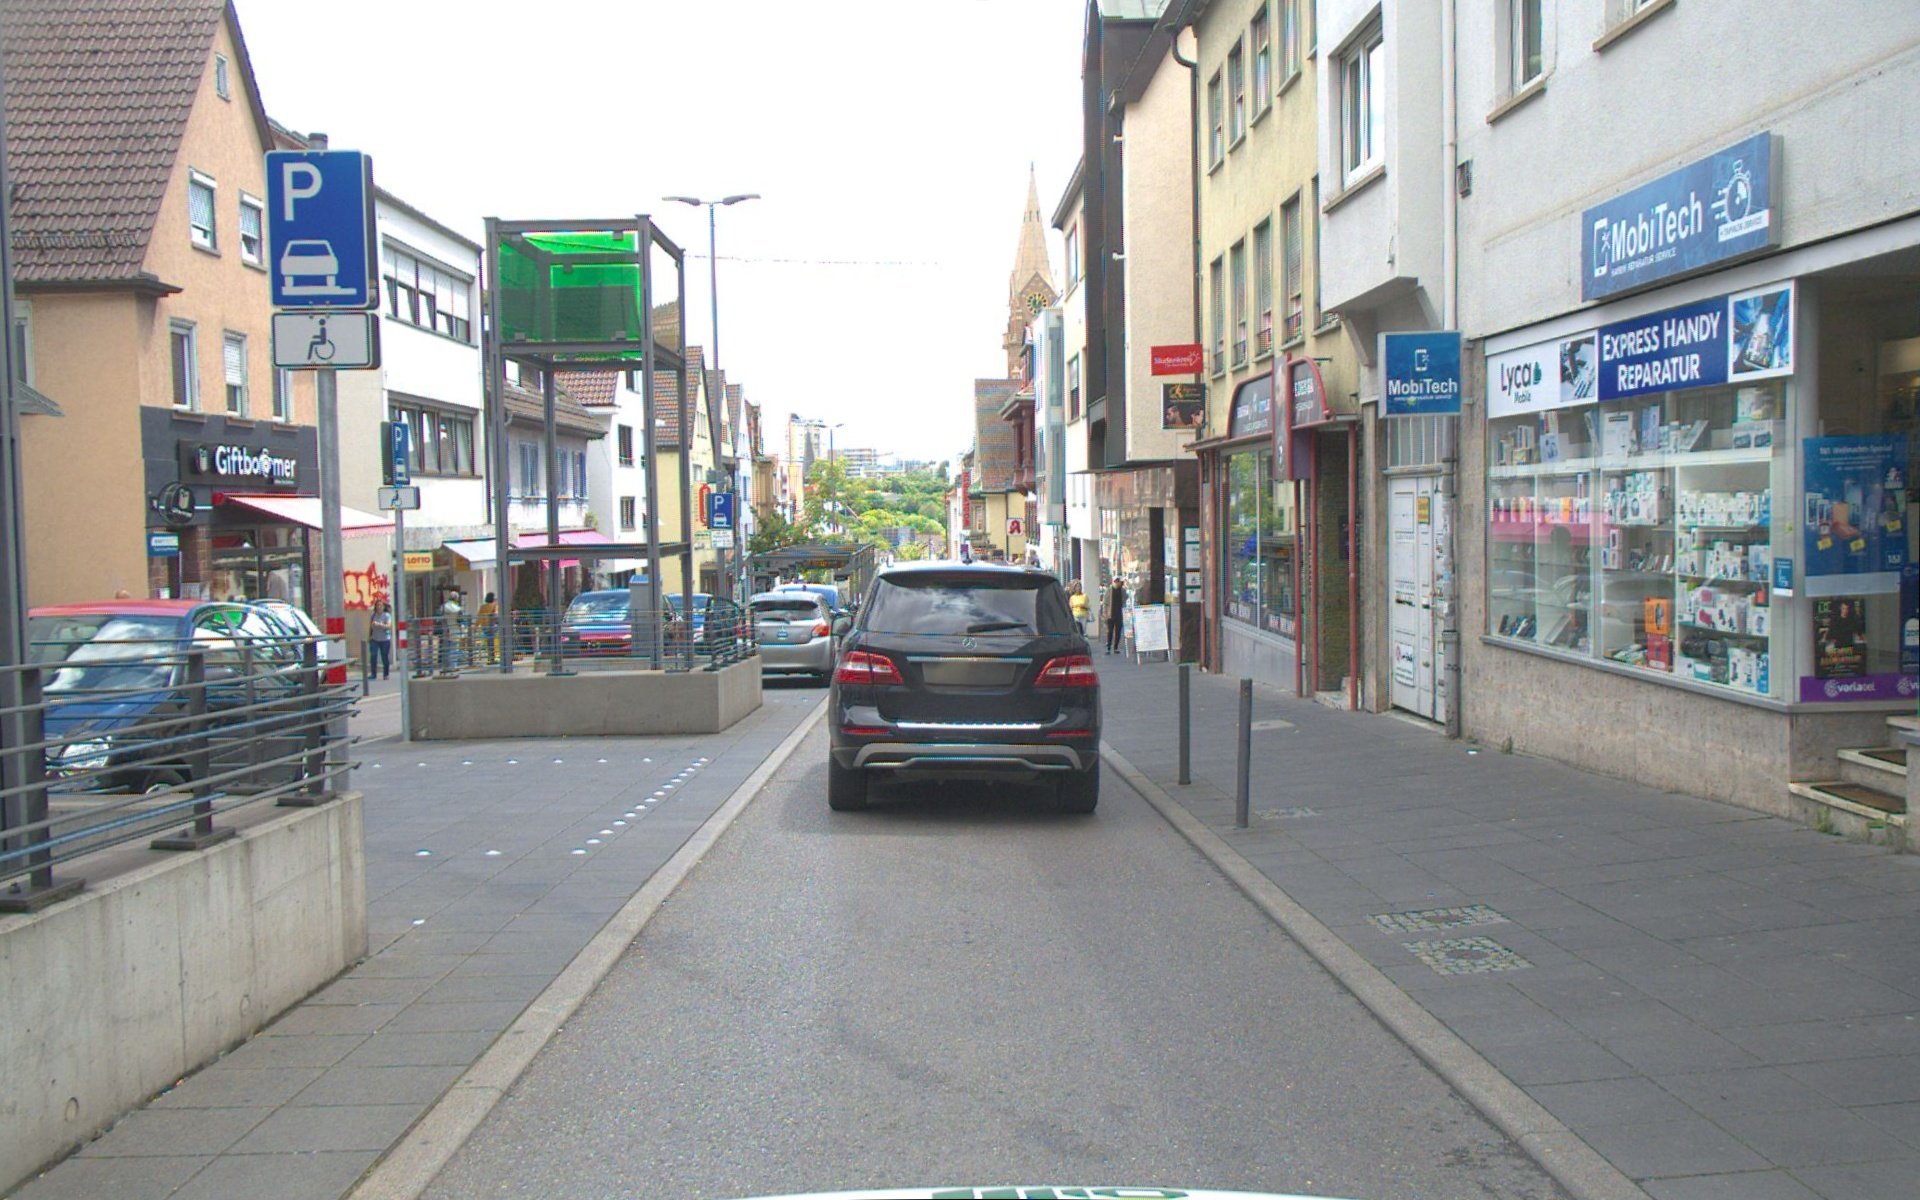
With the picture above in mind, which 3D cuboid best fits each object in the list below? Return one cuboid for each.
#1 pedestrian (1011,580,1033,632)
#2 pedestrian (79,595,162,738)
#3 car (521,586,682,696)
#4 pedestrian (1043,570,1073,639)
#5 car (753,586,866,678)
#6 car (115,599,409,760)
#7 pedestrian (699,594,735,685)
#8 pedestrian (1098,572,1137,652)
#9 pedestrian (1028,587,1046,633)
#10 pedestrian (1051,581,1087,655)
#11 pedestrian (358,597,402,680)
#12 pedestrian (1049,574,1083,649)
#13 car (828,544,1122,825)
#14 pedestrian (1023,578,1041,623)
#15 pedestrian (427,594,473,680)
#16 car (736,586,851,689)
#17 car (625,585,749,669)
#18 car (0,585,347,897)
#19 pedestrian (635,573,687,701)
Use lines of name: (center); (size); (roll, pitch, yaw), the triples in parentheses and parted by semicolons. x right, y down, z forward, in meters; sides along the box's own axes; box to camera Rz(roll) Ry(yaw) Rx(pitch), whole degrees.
pedestrian: (2.067, 0.198, 55.134); (0.609, 1.718, 0.565); (1, 0, -8)
pedestrian: (-10.294, 0.798, 20.305); (0.626, 1.718, 0.827); (0, 0, -3)
car: (-5.515, 0.592, 25.926); (1.704, 1.570, 4.192); (1, 0, -2)
pedestrian: (2.556, 0.112, 43.107); (0.696, 1.784, 0.787); (0, 1, -2)
car: (-2.877, 0.592, 32.468); (1.917, 1.668, 4.313); (1, 0, -2)
car: (-7.697, 0.801, 18.680); (1.645, 1.598, 4.121); (1, 0, -2)
pedestrian: (-3.993, 0.643, 27.168); (0.457, 1.456, 0.492); (-3, 0, -2)
pedestrian: (3.493, 0.265, 36.748); (0.650, 1.718, 0.542); (-4, 0, -8)
pedestrian: (2.968, 0.381, 63.763); (0.562, 1.718, 0.565); (-2, 0, -8)
pedestrian: (2.538, 0.407, 38.497); (0.697, 1.659, 0.835); (-3, 0, -2)
pedestrian: (-11.480, 0.748, 32.732); (0.553, 1.601, 0.716); (-3, 0, -2)
pedestrian: (2.598, 0.277, 40.607); (0.697, 1.784, 0.785); (-3, 0, -2)
car: (-0.006, 0.544, 12.583); (1.863, 1.777, 3.997); (1, 0, -3)
pedestrian: (2.805, 0.015, 64.499); (0.562, 1.718, 0.565); (1, 0, -8)
pedestrian: (-10.370, 0.749, 33.635); (0.633, 1.718, 0.663); (0, 0, 38)
car: (-2.672, 0.577, 27.142); (1.587, 1.559, 3.669); (1, 0, -2)
car: (-5.279, 0.478, 32.452); (1.703, 1.501, 3.885); (1, 1, 1)
car: (-5.018, 0.679, 9.861); (1.538, 1.501, 3.852); (0, 0, -4)
pedestrian: (-4.056, 0.483, 22.488); (0.522, 1.701, 0.901); (0, 1, 1)
